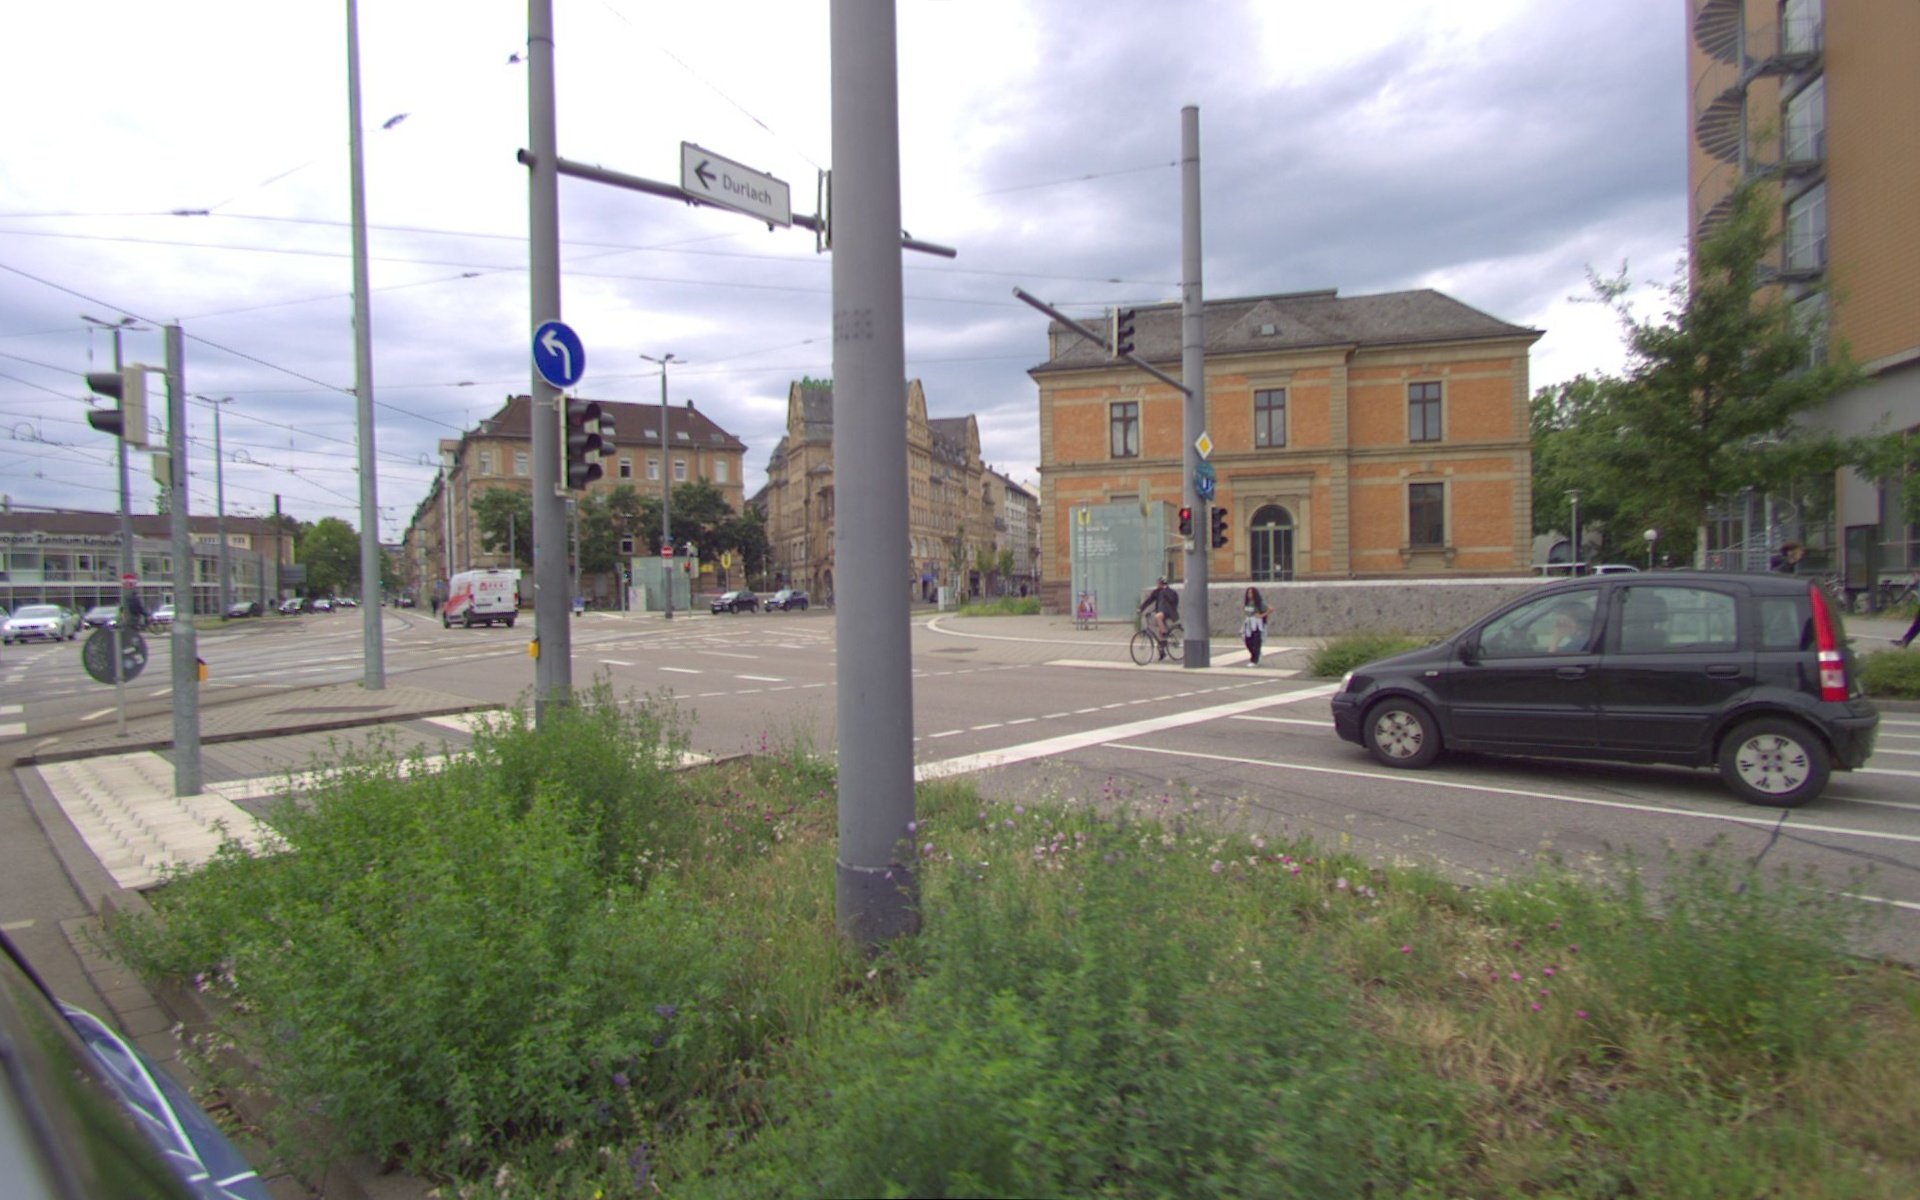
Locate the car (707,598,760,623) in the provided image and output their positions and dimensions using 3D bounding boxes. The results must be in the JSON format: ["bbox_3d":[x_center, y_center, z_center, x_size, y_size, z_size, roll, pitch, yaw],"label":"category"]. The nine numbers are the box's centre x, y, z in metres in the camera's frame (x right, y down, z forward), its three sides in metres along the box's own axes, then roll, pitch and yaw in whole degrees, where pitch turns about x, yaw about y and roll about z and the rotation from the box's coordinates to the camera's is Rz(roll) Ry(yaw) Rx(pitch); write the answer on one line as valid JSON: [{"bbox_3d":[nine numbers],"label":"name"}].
[{"bbox_3d":[-16.082,0.707,72.003,1.980,1.623,4.227,-1,1,13],"label":"car"}]

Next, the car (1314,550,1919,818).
[{"bbox_3d":[4.754,0.482,7.557,3.665,1.527,1.601,0,0,43],"label":"car"}]

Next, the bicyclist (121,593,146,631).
[{"bbox_3d":[-36.451,0.536,44.651,0.514,1.651,0.650,-1,1,21],"label":"bicyclist"}]

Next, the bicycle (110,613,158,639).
[{"bbox_3d":[-36.438,1.153,44.661,0.524,1.078,1.603,-1,1,21],"label":"bicycle"}]

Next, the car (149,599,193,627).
[{"bbox_3d":[-58.998,0.940,75.762,1.966,2.029,4.013,-2,1,-29],"label":"car"}]

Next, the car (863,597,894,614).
[{"bbox_3d":[-7.727,0.484,96.648,1.815,1.476,3.985,-1,1,13],"label":"car"}]

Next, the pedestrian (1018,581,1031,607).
[{"bbox_3d":[4.633,-0.452,72.759,0.801,1.846,0.847,-1,1,8],"label":"pedestrian"}]

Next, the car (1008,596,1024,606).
[{"bbox_3d":[8.838,0.196,159.176,1.815,1.476,3.985,-1,1,13],"label":"car"}]

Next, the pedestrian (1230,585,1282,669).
[{"bbox_3d":[5.677,0.505,19.396,0.571,1.563,0.750,-1,0,-44],"label":"pedestrian"}]

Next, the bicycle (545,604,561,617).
[{"bbox_3d":[-33.307,0.846,82.782,0.823,1.038,2.404,-2,1,-30],"label":"bicycle"}]

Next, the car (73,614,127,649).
[{"bbox_3d":[-53.989,1.954,63.619,1.966,2.029,4.011,-2,1,-32],"label":"car"}]

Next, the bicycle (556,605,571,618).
[{"bbox_3d":[-32.603,0.964,83.197,0.742,1.038,2.404,-1,0,-30],"label":"bicycle"}]

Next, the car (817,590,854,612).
[{"bbox_3d":[-11.006,0.064,89.477,1.816,1.773,3.981,-1,1,16],"label":"car"}]

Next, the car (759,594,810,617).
[{"bbox_3d":[-13.496,0.404,78.232,2.142,1.727,4.903,-1,0,14],"label":"car"}]

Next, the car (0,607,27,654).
[{"bbox_3d":[-43.856,1.350,45.581,1.966,2.029,4.011,-2,1,-32],"label":"car"}]

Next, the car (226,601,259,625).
[{"bbox_3d":[-64.316,1.174,90.805,1.966,2.029,4.013,-2,1,-29],"label":"car"}]

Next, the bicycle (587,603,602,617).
[{"bbox_3d":[-30.402,0.826,84.188,0.742,1.038,2.404,-2,1,-30],"label":"bicycle"}]

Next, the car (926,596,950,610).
[{"bbox_3d":[-2.505,0.372,118.067,1.815,1.476,3.985,-1,1,13],"label":"car"}]

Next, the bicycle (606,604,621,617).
[{"bbox_3d":[-29.046,0.838,84.831,0.742,1.038,2.404,-2,1,-30],"label":"bicycle"}]

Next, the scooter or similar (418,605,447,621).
[{"bbox_3d":[-40.291,0.966,77.348,1.878,1.174,0.575,-2,1,-44],"label":"scooter or similar"}]

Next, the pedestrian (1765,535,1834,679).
[{"bbox_3d":[12.096,0.094,14.584,0.809,1.995,0.659,-1,0,-44],"label":"pedestrian"}]

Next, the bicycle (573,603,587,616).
[{"bbox_3d":[-31.498,0.810,83.855,0.742,1.038,2.404,1,0,-30],"label":"bicycle"}]

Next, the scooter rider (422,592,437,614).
[{"bbox_3d":[-40.449,0.210,77.147,0.810,1.640,0.570,-2,1,-43],"label":"scooter rider"}]

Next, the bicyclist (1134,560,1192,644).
[{"bbox_3d":[4.236,0.033,21.154,0.802,1.668,0.795,-5,3,-40],"label":"bicyclist"}]

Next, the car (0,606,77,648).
[{"bbox_3d":[-35.982,1.010,39.391,1.941,1.466,4.203,-2,1,-35],"label":"car"}]

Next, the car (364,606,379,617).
[{"bbox_3d":[-87.775,1.668,150.951,1.857,1.481,4.477,-2,1,-32],"label":"car"}]

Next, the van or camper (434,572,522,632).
[{"bbox_3d":[-21.905,0.084,45.859,2.251,2.546,5.582,-1,0,-40],"label":"van or camper"}]

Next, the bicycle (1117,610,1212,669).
[{"bbox_3d":[4.295,0.792,21.212,2.087,1.036,0.796,-5,3,-40],"label":"bicycle"}]

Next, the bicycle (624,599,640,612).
[{"bbox_3d":[-27.824,0.456,85.812,0.742,1.038,2.404,-1,0,-30],"label":"bicycle"}]

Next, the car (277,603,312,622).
[{"bbox_3d":[-67.436,1.266,102.612,2.333,1.768,5.146,-2,1,-27],"label":"car"}]
